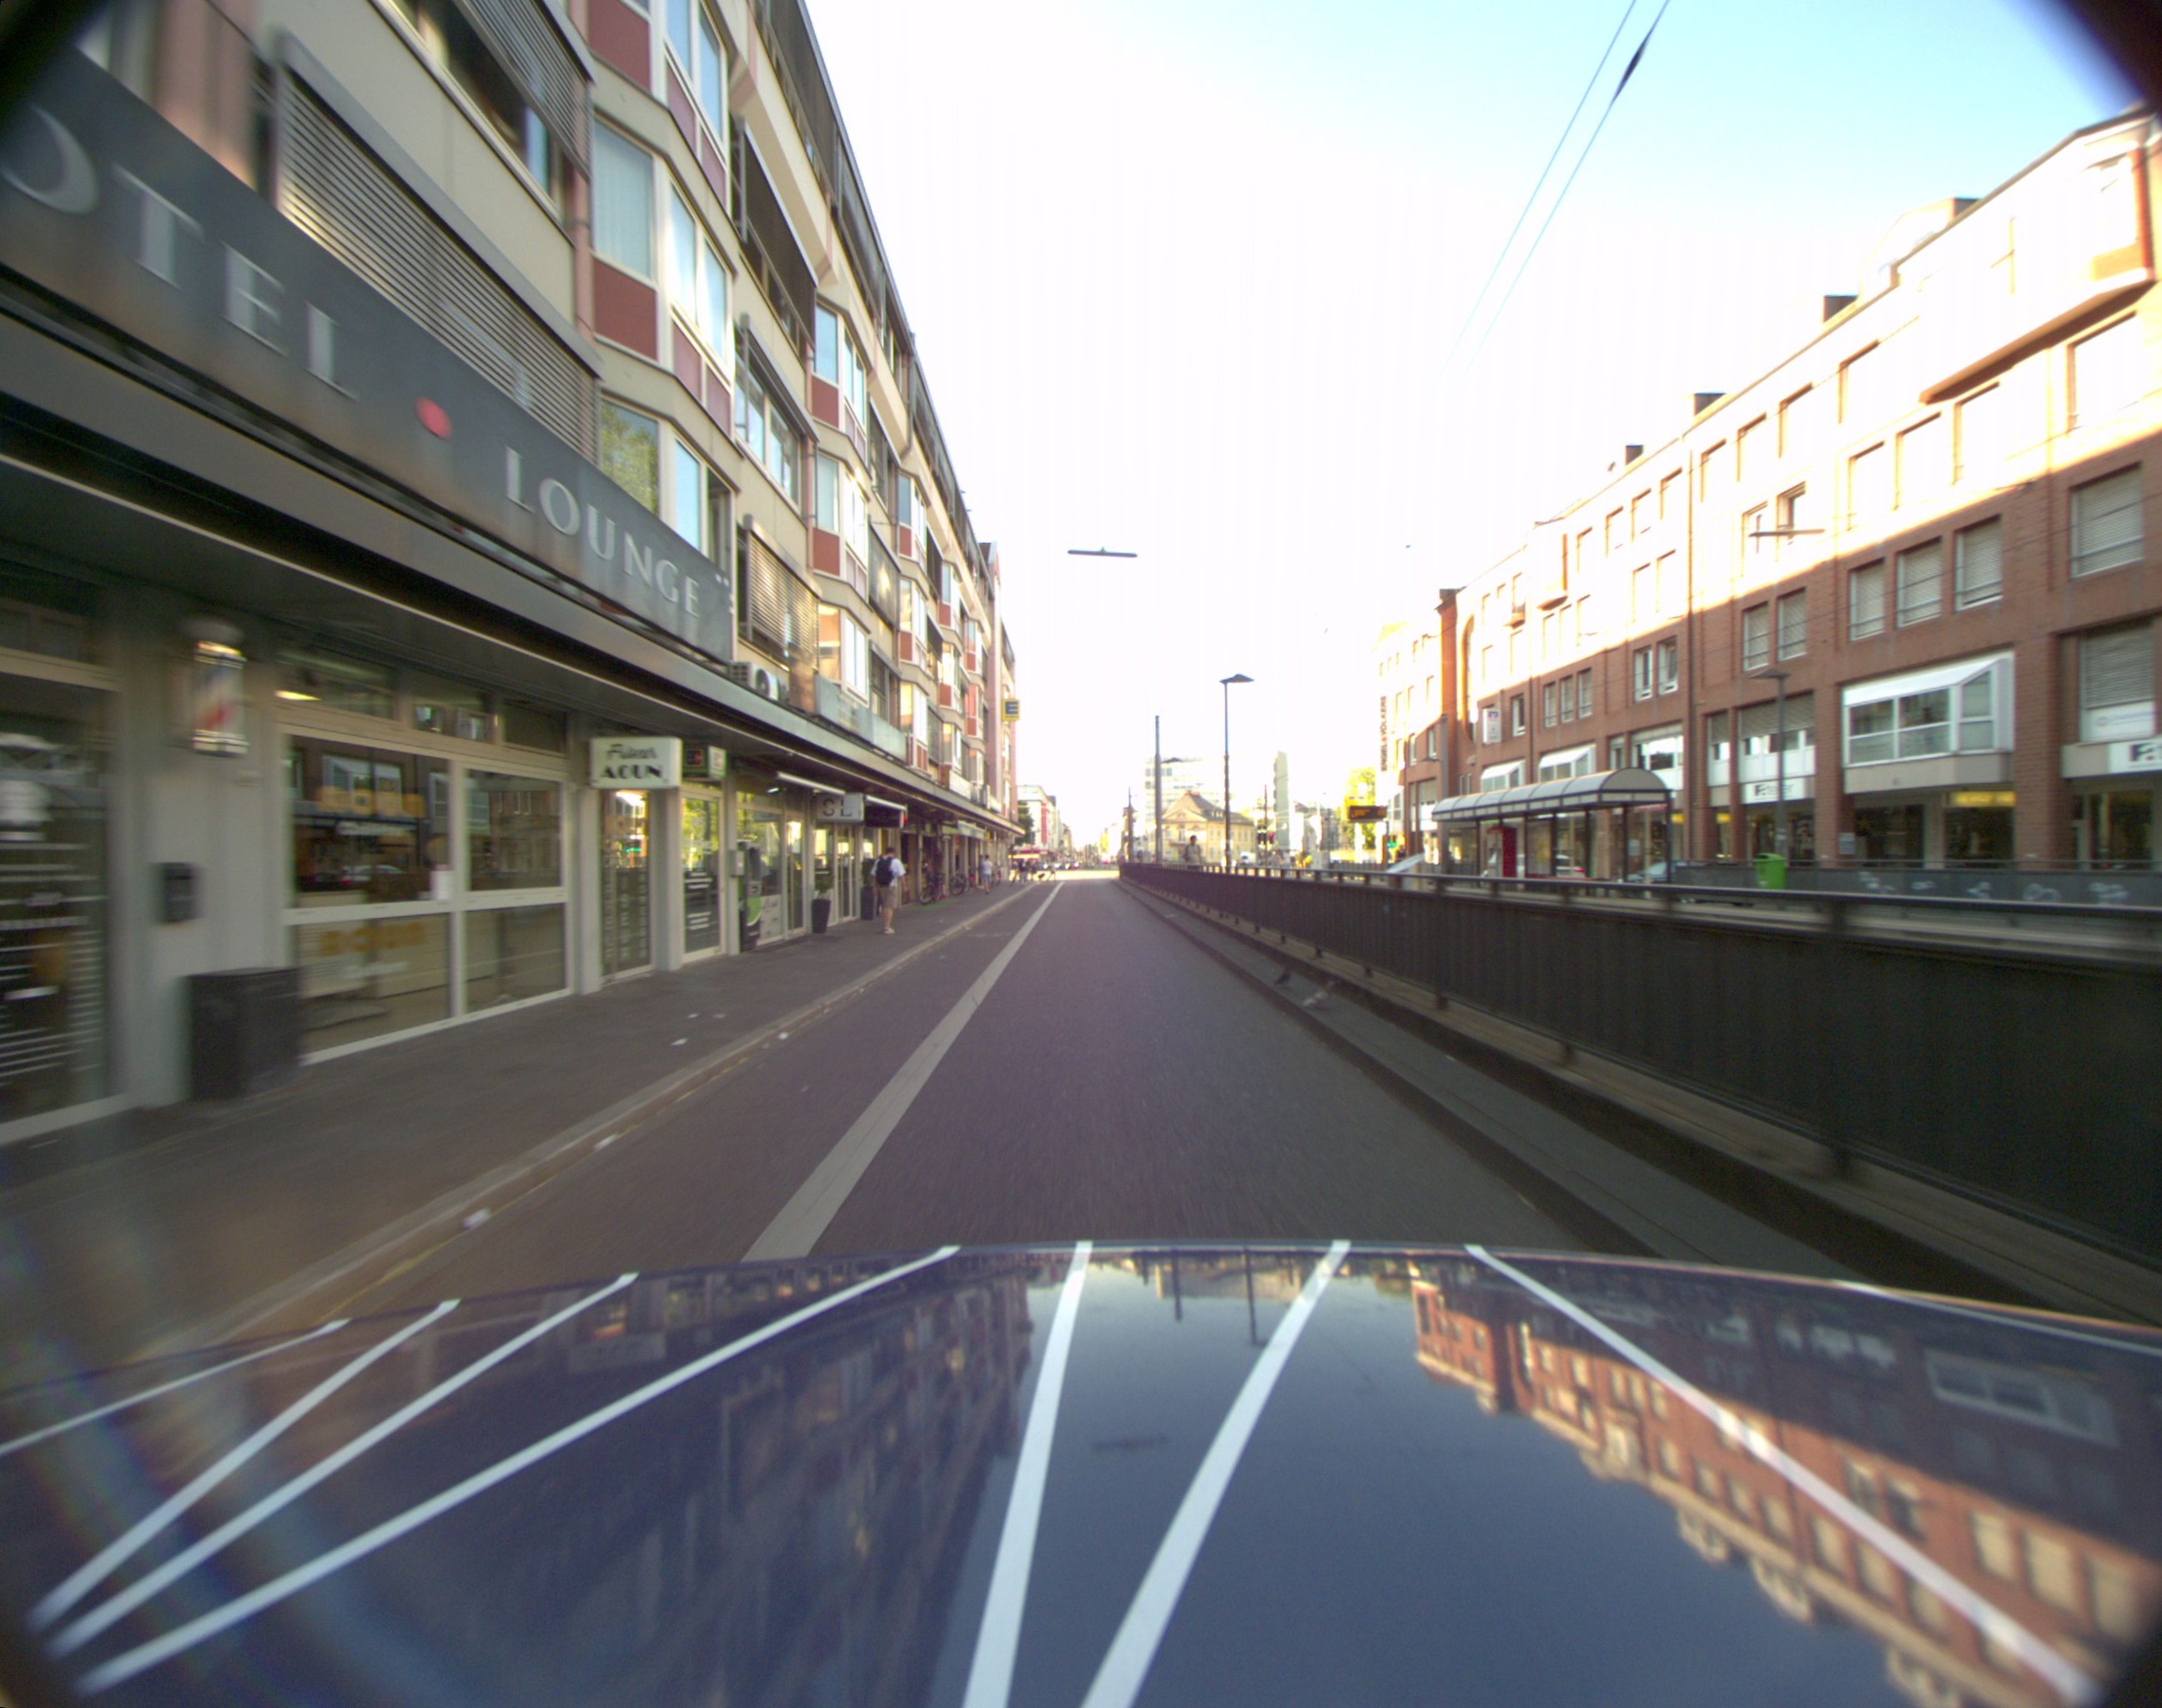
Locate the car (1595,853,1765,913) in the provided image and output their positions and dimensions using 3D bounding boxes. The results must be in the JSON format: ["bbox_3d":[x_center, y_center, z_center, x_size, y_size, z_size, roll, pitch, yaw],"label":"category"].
[{"bbox_3d":[18.498,0.810,23.773,1.914,1.585,4.289,0,2,1],"label":"car"}]

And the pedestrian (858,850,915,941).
[{"bbox_3d":[-3.883,0.802,15.234,0.800,1.712,1.061,2,1,1],"label":"pedestrian"}]

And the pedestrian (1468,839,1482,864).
[{"bbox_3d":[26.968,-0.173,52.032,0.613,1.652,0.637,-1,1,-1],"label":"pedestrian"}]

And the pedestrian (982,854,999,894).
[{"bbox_3d":[-3.832,0.829,32.217,0.634,1.664,0.771,0,1,0],"label":"pedestrian"}]

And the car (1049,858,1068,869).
[{"bbox_3d":[-3.854,1.634,128.260,1.974,1.664,4.869,-2,0,-17],"label":"car"}]

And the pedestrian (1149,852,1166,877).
[{"bbox_3d":[5.643,0.805,56.054,0.812,1.793,0.859,-4,1,-28],"label":"pedestrian"}]

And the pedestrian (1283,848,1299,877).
[{"bbox_3d":[13.113,0.522,47.494,0.859,1.757,0.812,-3,1,15],"label":"pedestrian"}]

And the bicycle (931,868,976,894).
[{"bbox_3d":[-5.293,1.117,31.500,1.734,0.968,0.506,2,1,5],"label":"bicycle"}]

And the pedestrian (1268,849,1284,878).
[{"bbox_3d":[12.196,0.575,47.480,0.859,1.757,0.812,-3,1,15],"label":"pedestrian"}]

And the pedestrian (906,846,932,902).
[{"bbox_3d":[-5.501,0.659,25.796,0.780,1.856,0.686,0,1,-20],"label":"pedestrian"}]

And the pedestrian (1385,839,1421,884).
[{"bbox_3d":[12.255,0.283,28.929,0.913,1.652,0.967,-1,1,-1],"label":"pedestrian"}]

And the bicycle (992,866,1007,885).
[{"bbox_3d":[-4.545,1.169,42.234,0.678,0.971,1.842,4,0,-3],"label":"bicycle"}]

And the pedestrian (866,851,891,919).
[{"bbox_3d":[-5.032,0.760,18.867,0.543,1.664,0.468,0,1,-9],"label":"pedestrian"}]

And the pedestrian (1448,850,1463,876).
[{"bbox_3d":[24.284,0.572,49.288,0.613,1.652,0.637,-1,1,-1],"label":"pedestrian"}]

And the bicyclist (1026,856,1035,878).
[{"bbox_3d":[-3.838,0.962,57.291,0.637,1.668,0.768,-1,1,-4],"label":"bicyclist"}]

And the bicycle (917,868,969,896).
[{"bbox_3d":[-5.464,1.117,30.140,1.929,1.054,0.576,1,1,0],"label":"bicycle"}]

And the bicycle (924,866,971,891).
[{"bbox_3d":[-5.840,1.081,33.267,1.929,1.054,0.576,1,1,-3],"label":"bicycle"}]

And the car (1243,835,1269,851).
[{"bbox_3d":[33.811,-2.085,146.490,2.535,3.031,6.387,2,2,37],"label":"car"}]

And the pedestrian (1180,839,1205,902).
[{"bbox_3d":[3.191,0.460,21.798,0.584,1.781,0.606,-1,1,-2],"label":"pedestrian"}]

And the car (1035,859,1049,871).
[{"bbox_3d":[-5.622,1.561,110.709,1.972,1.664,4.874,-2,0,-3],"label":"car"}]

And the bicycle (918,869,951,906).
[{"bbox_3d":[-4.675,1.055,24.297,0.659,1.061,1.794,4,0,-1],"label":"bicycle"}]

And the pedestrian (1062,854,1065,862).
[{"bbox_3d":[-3.384,0.755,147.450,0.597,1.434,0.613,-1,1,-11],"label":"pedestrian"}]

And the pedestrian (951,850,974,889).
[{"bbox_3d":[-5.532,0.711,35.529,0.734,1.805,0.805,-2,1,-37],"label":"pedestrian"}]

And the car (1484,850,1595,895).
[{"bbox_3d":[18.306,0.684,30.600,1.914,1.585,4.289,0,2,1],"label":"car"}]

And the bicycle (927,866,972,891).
[{"bbox_3d":[-5.861,1.082,33.927,1.929,1.054,0.576,1,1,-3],"label":"bicycle"}]

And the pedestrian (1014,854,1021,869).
[{"bbox_3d":[-8.333,0.971,99.520,0.747,2.002,1.070,-4,1,-13],"label":"pedestrian"}]

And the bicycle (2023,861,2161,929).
[{"bbox_3d":[22.046,0.862,16.170,2.614,1.275,0.841,-3,1,8],"label":"bicycle"}]

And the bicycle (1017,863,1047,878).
[{"bbox_3d":[-3.698,1.240,57.295,2.176,1.117,0.768,-1,1,-4],"label":"bicycle"}]

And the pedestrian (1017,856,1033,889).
[{"bbox_3d":[-3.108,0.997,42.169,0.807,1.805,0.733,-1,1,-3],"label":"pedestrian"}]

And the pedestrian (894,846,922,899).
[{"bbox_3d":[-6.126,0.647,26.920,0.781,1.856,0.685,0,1,-31],"label":"pedestrian"}]

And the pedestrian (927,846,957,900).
[{"bbox_3d":[-4.881,0.668,26.754,0.917,1.856,0.779,1,1,-3],"label":"pedestrian"}]

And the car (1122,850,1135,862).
[{"bbox_3d":[10.367,0.511,164.117,2.540,2.440,5.424,-2,0,5],"label":"car"}]

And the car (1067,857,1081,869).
[{"bbox_3d":[-0.988,1.383,114.781,1.971,1.664,4.875,-2,0,0],"label":"car"}]

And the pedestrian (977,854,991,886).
[{"bbox_3d":[-4.807,0.786,37.589,0.407,1.586,0.462,3,1,28],"label":"pedestrian"}]
